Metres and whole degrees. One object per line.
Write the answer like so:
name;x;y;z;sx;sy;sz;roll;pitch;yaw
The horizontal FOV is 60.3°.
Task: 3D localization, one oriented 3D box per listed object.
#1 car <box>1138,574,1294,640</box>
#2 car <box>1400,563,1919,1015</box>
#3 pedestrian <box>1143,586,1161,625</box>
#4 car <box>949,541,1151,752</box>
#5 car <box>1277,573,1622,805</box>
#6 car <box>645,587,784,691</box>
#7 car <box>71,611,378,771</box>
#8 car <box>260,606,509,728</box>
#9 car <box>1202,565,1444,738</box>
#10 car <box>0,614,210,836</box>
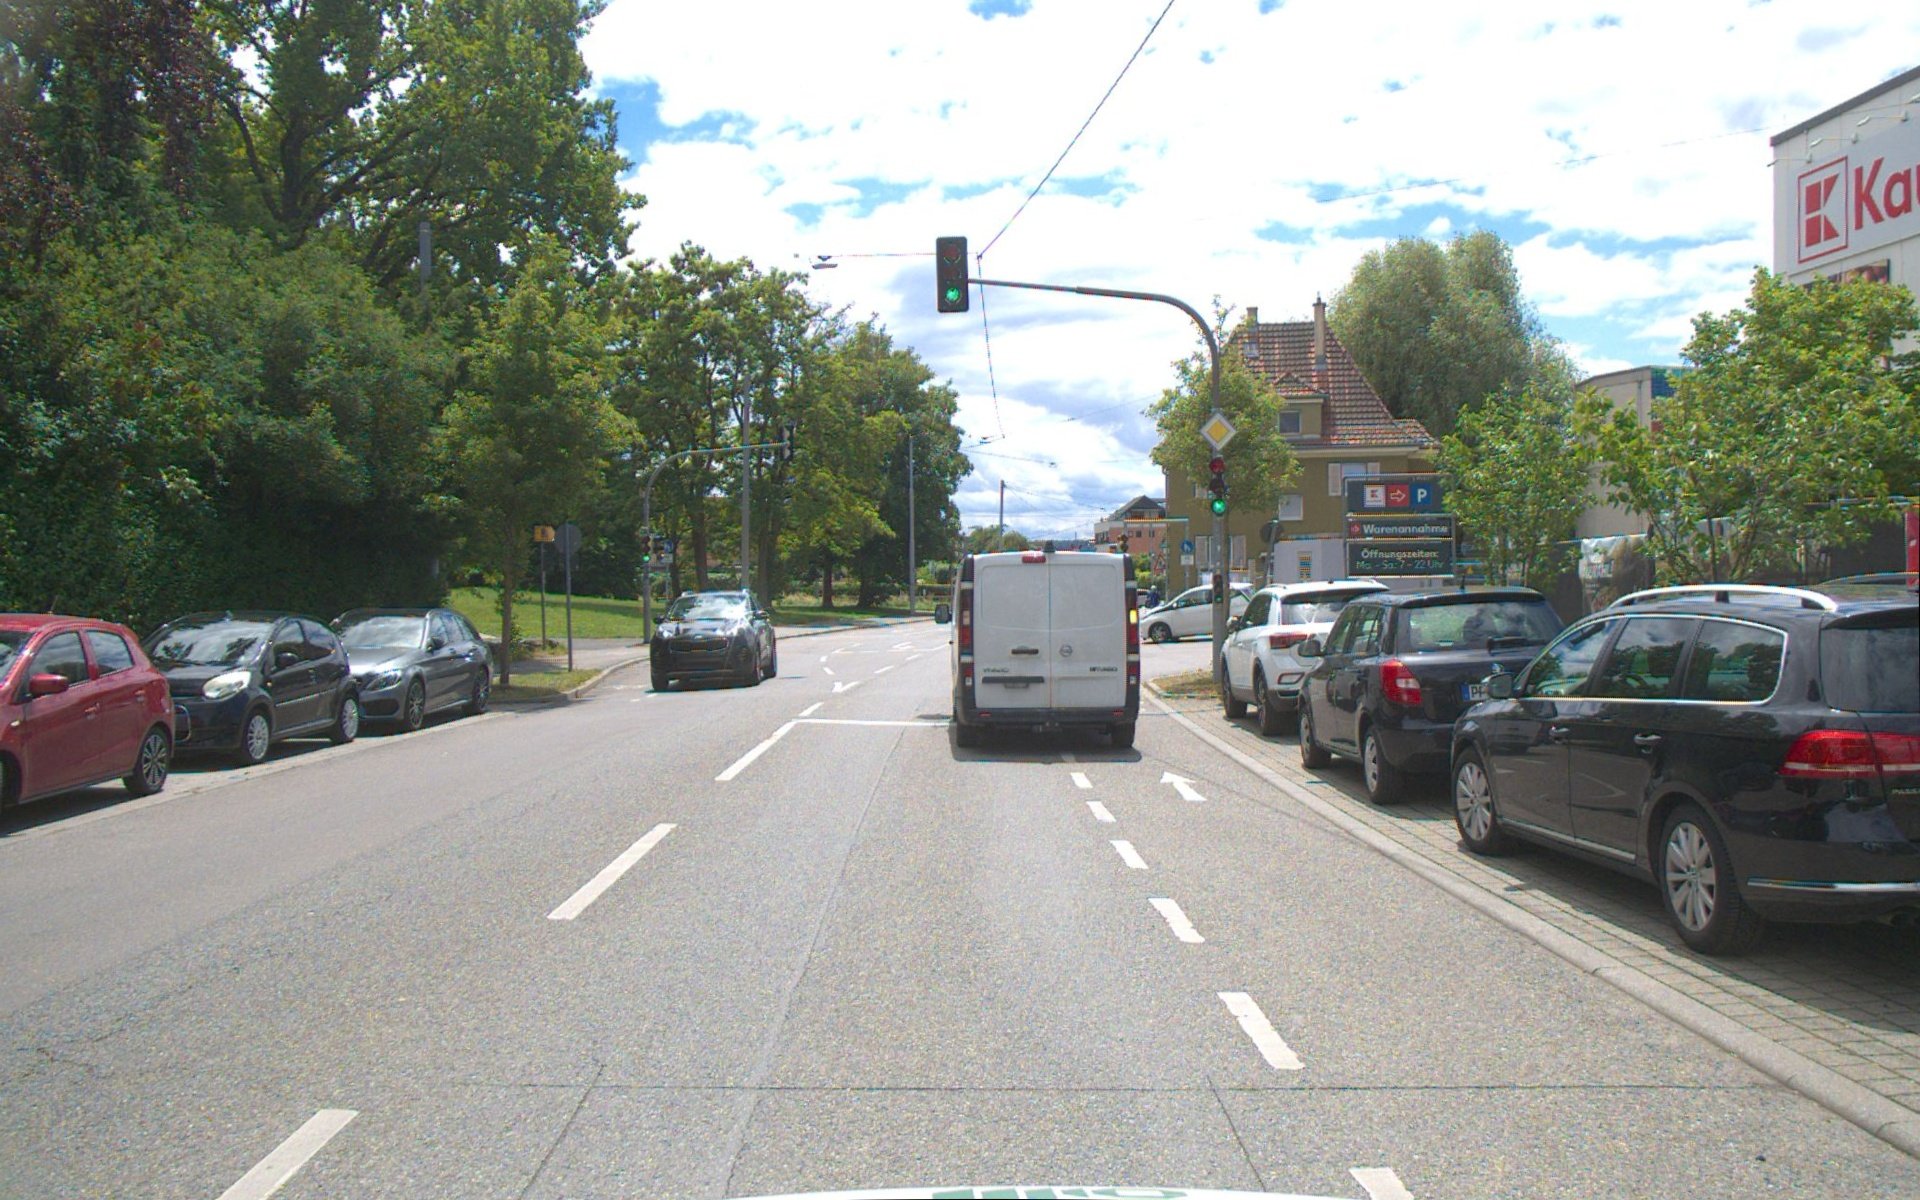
car;6.916;0.186;44.640;3.903;1.634;1.609;-2;0;18
car;3.845;0.631;8.233;1.729;1.502;4.933;-4;0;-2
pedestrian;7.975;0.229;68.661;0.664;1.580;0.836;-3;-3;8
car;0.850;0.440;18.277;1.899;1.995;4.832;1;0;-1
car;3.715;0.602;13.259;1.536;1.519;4.000;-2;0;0
car;-4.280;0.633;29.434;1.796;1.645;4.152;-2;0;0
car;-7.534;0.870;17.320;1.562;1.476;3.596;0;0;1
car;-7.350;0.791;21.629;1.660;1.389;4.685;1;0;-1
car;3.982;0.520;18.885;1.702;1.644;4.386;-3;0;0
car;-7.369;0.866;12.452;1.616;1.476;4.104;0;0;-1
